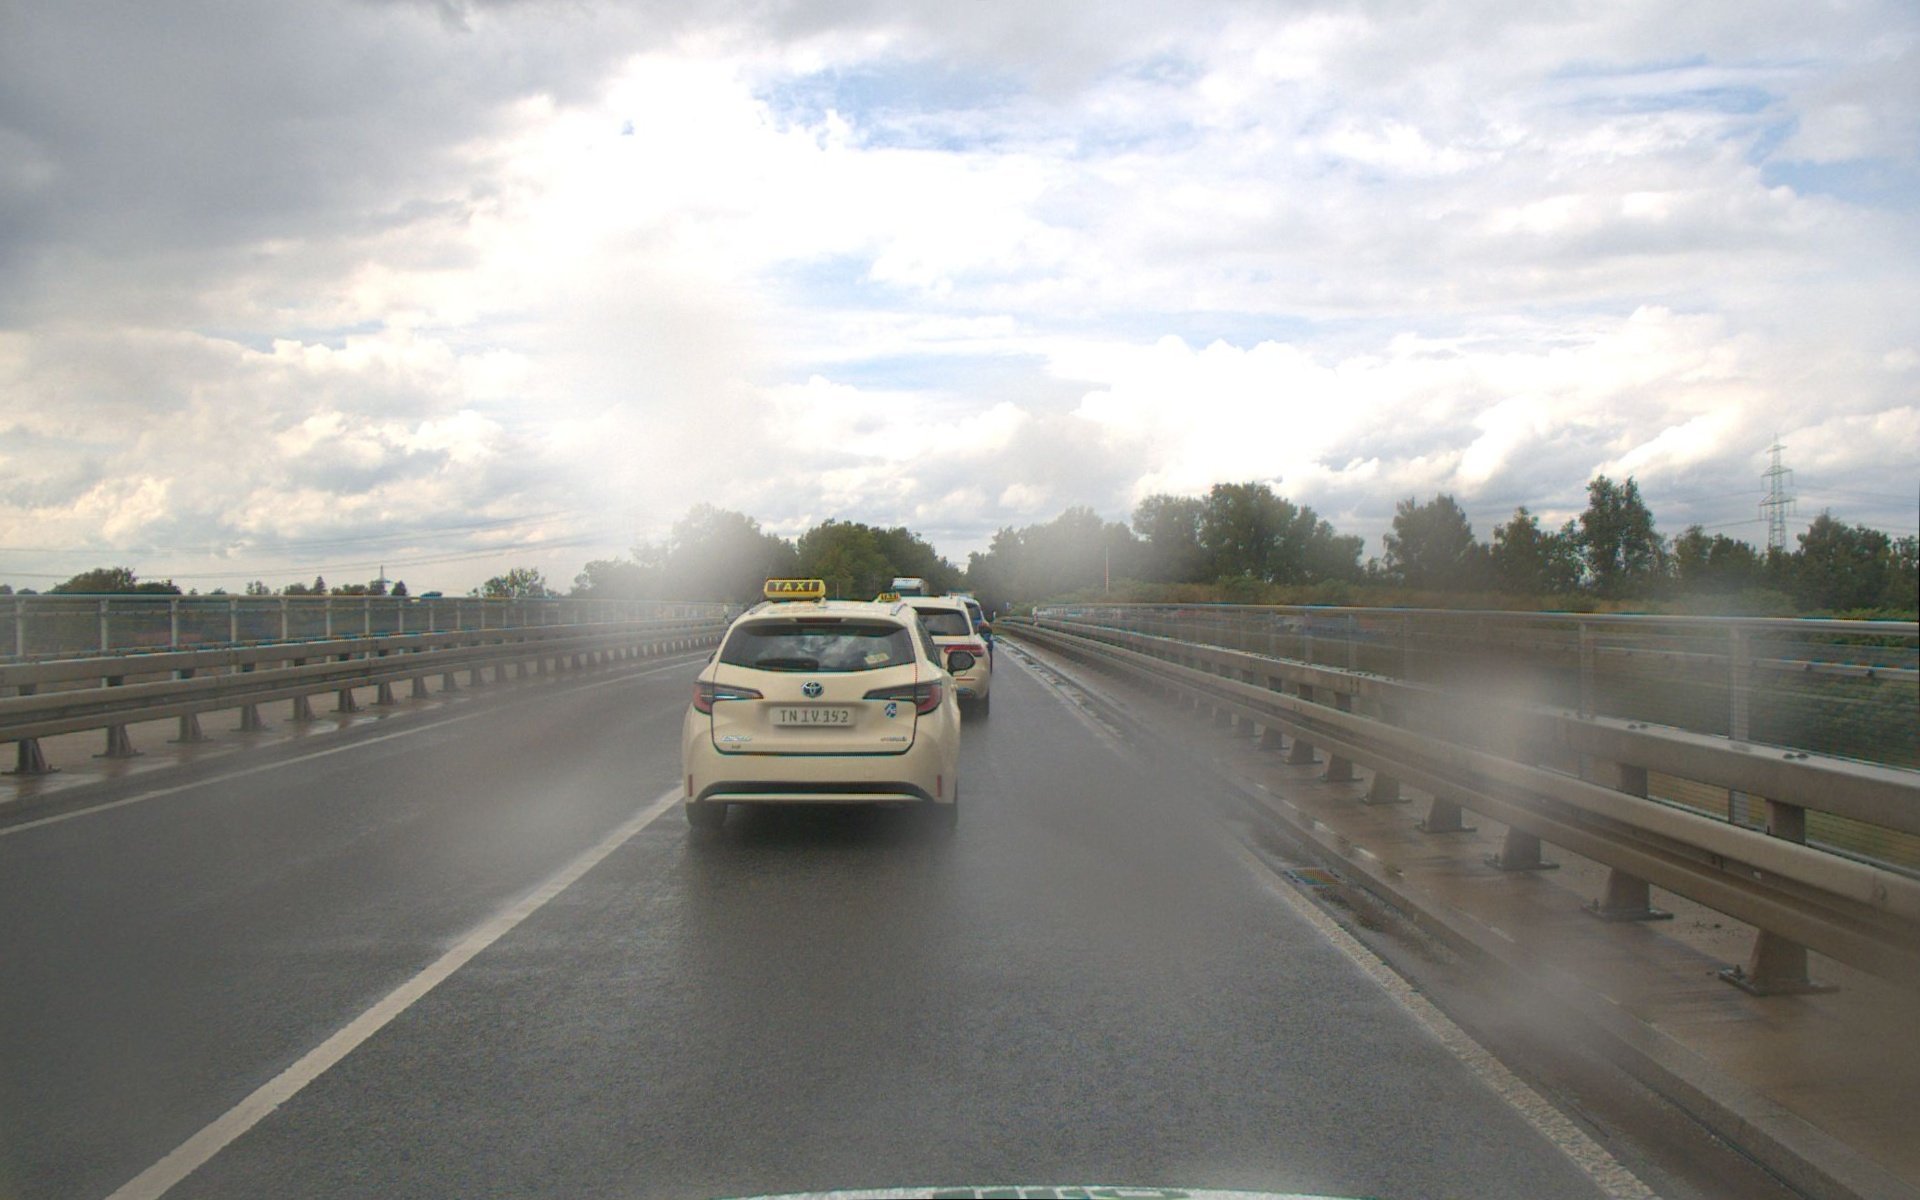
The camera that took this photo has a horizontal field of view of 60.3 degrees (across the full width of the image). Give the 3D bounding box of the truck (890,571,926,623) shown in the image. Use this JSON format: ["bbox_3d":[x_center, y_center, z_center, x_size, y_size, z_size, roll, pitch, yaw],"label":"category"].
[{"bbox_3d":[-4.223,-0.214,136.029,2.628,4.087,10.054,0,0,0],"label":"truck"}]

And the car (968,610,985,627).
[{"bbox_3d":[2.025,2.233,202.423,1.953,2.049,3.999,1,0,-1],"label":"car"}]

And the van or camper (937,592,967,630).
[{"bbox_3d":[-0.661,0.878,131.282,2.285,2.914,6.305,1,0,0],"label":"van or camper"}]

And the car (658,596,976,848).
[{"bbox_3d":[-0.845,0.704,11.674,1.816,1.418,4.170,1,0,-1],"label":"car"}]

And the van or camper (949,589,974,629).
[{"bbox_3d":[0.112,0.842,155.068,2.285,3.625,6.305,1,0,0],"label":"van or camper"}]

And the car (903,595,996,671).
[{"bbox_3d":[-0.225,0.640,34.635,1.816,1.468,4.170,1,0,-1],"label":"car"}]

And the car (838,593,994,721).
[{"bbox_3d":[-0.537,0.665,21.576,1.816,1.468,4.170,1,0,-1],"label":"car"}]
